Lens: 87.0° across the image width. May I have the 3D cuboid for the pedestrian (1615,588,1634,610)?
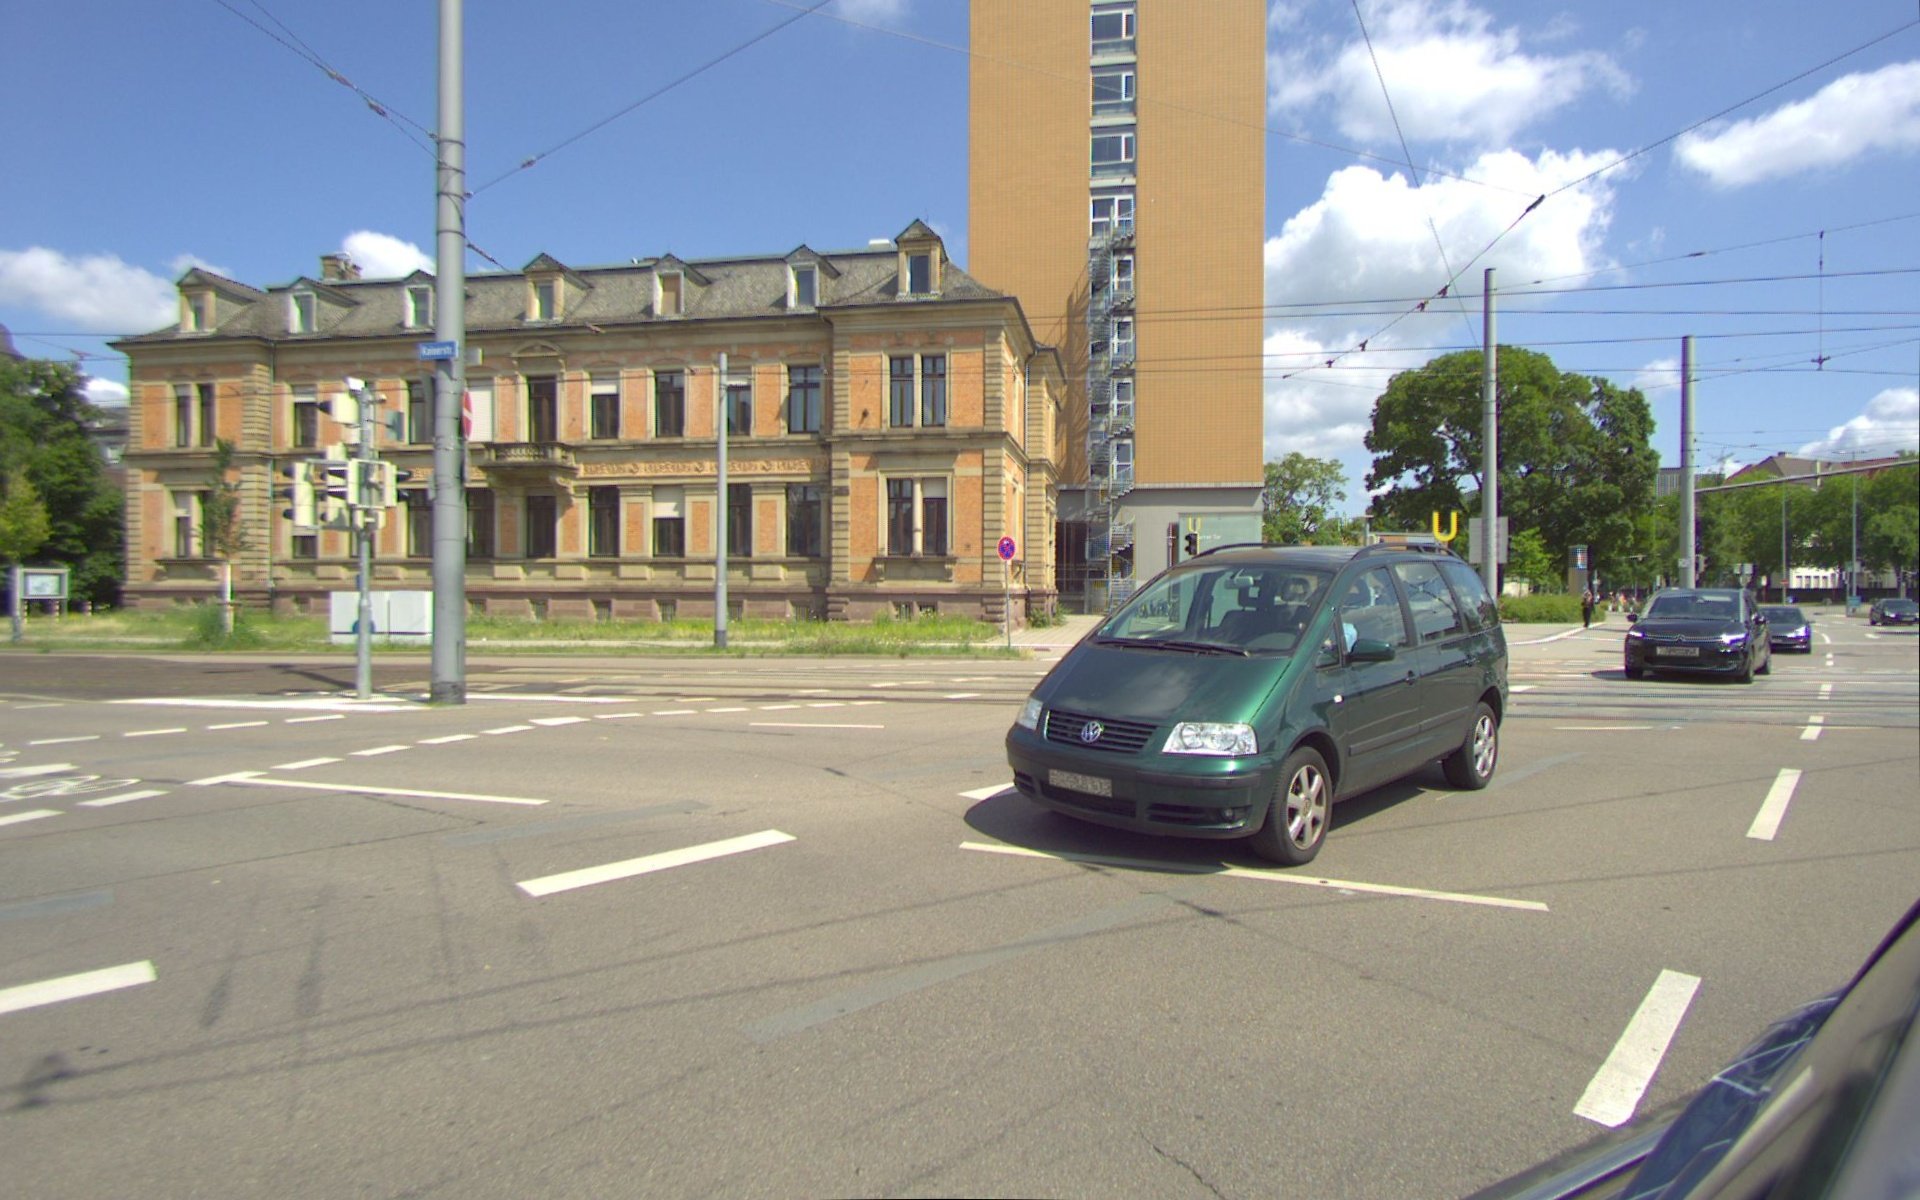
[{"bbox_3d":[52.573,-0.091,80.084,1.143,1.711,1.296,1,0,31],"label":"pedestrian"}]

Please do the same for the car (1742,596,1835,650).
[{"bbox_3d":[26.111,0.670,31.831,1.869,1.504,4.355,0,1,45],"label":"car"}]

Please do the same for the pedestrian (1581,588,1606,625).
[{"bbox_3d":[28.305,0.282,45.208,0.828,1.606,0.755,1,0,44],"label":"pedestrian"}]

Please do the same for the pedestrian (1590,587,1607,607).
[{"bbox_3d":[54.203,-0.237,85.932,1.143,1.711,1.296,1,0,31],"label":"pedestrian"}]

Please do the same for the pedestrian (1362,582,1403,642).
[{"bbox_3d":[12.514,0.351,29.978,1.012,1.741,0.725,0,0,14],"label":"pedestrian"}]

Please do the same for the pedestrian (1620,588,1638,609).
[{"bbox_3d":[55.605,-0.159,84.114,1.143,1.711,1.296,1,0,31],"label":"pedestrian"}]

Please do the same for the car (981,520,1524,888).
[{"bbox_3d":[2.183,0.450,6.854,4.019,1.739,1.816,-1,2,-45],"label":"car"}]

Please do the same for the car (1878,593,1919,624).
[{"bbox_3d":[50.472,0.430,54.002,1.771,1.594,3.910,1,0,36],"label":"car"}]

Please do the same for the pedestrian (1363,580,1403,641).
[{"bbox_3d":[12.832,0.313,30.706,1.012,1.835,0.725,0,0,14],"label":"pedestrian"}]

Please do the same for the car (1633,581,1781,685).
[{"bbox_3d":[13.645,0.481,18.379,1.866,1.636,4.362,2,2,40],"label":"car"}]

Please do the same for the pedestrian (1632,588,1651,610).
[{"bbox_3d":[54.239,-0.050,80.545,1.143,1.711,1.296,1,0,31],"label":"pedestrian"}]

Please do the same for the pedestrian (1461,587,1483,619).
[{"bbox_3d":[26.515,0.150,52.387,0.828,1.646,0.755,1,0,44],"label":"pedestrian"}]
